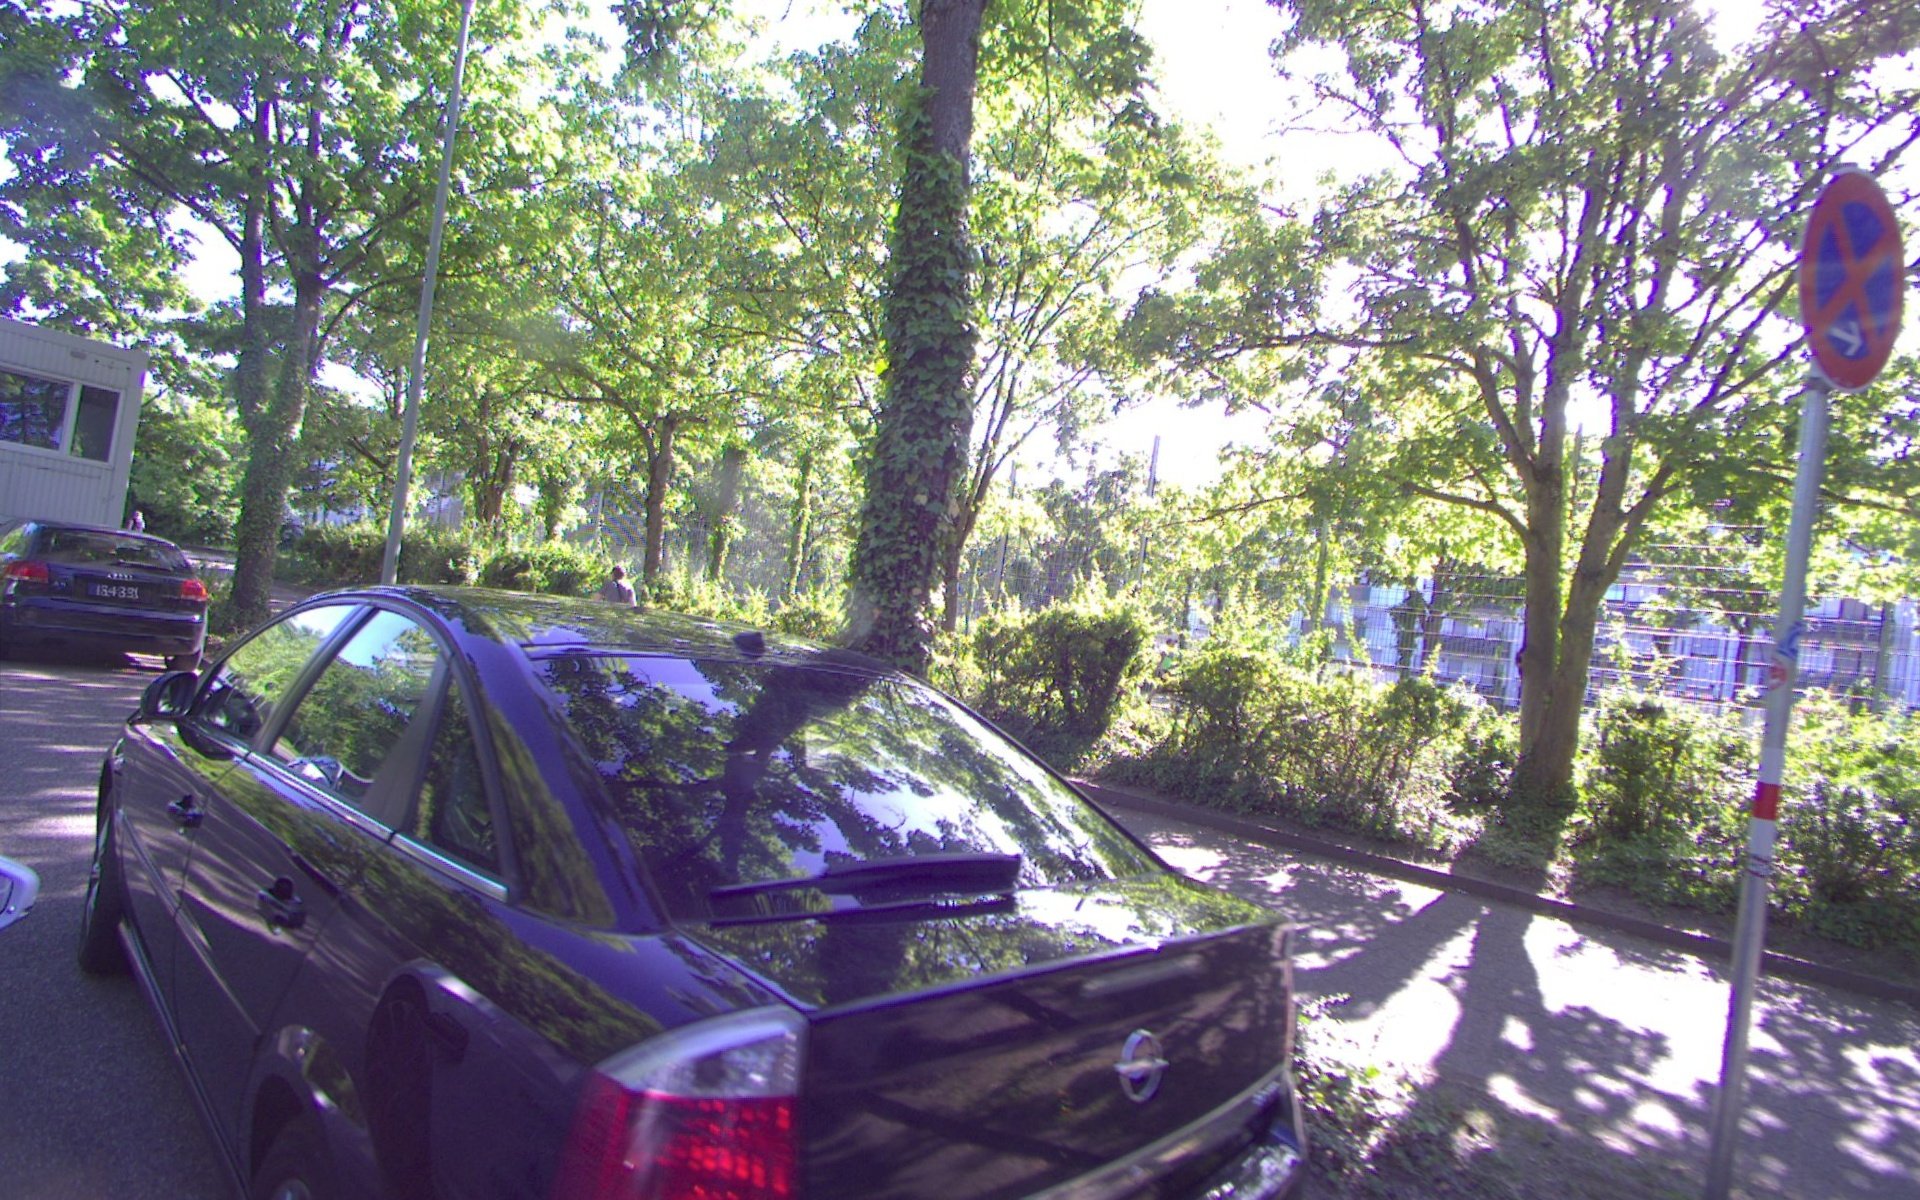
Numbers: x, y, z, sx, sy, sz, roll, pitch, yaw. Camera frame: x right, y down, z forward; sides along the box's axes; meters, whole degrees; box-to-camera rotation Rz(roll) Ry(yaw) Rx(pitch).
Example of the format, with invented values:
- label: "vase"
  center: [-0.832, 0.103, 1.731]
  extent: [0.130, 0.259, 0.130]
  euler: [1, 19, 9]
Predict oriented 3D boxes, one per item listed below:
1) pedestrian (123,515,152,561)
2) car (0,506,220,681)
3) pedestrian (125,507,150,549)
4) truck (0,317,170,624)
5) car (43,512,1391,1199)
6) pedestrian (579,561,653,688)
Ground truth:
- label: "pedestrian"
  center: [-34.506, -2.597, 42.196]
  extent: [0.690, 1.835, 0.697]
  euler: [7, 1, 39]
- label: "car"
  center: [-9.665, -0.171, 10.871]
  extent: [3.942, 1.436, 1.640]
  euler: [7, -2, 39]
- label: "pedestrian"
  center: [-34.400, -3.011, 42.073]
  extent: [0.591, 1.631, 0.598]
  euler: [7, 1, 39]
- label: "truck"
  center: [-16.944, -2.255, 17.587]
  extent: [10.204, 4.041, 2.772]
  euler: [7, -2, 42]
- label: "car"
  center: [-1.188, 0.672, 2.874]
  extent: [3.978, 1.497, 1.746]
  euler: [6, -3, 44]
- label: "pedestrian"
  center: [-4.691, 0.327, 13.704]
  extent: [0.569, 1.627, 0.664]
  euler: [8, -1, -39]
